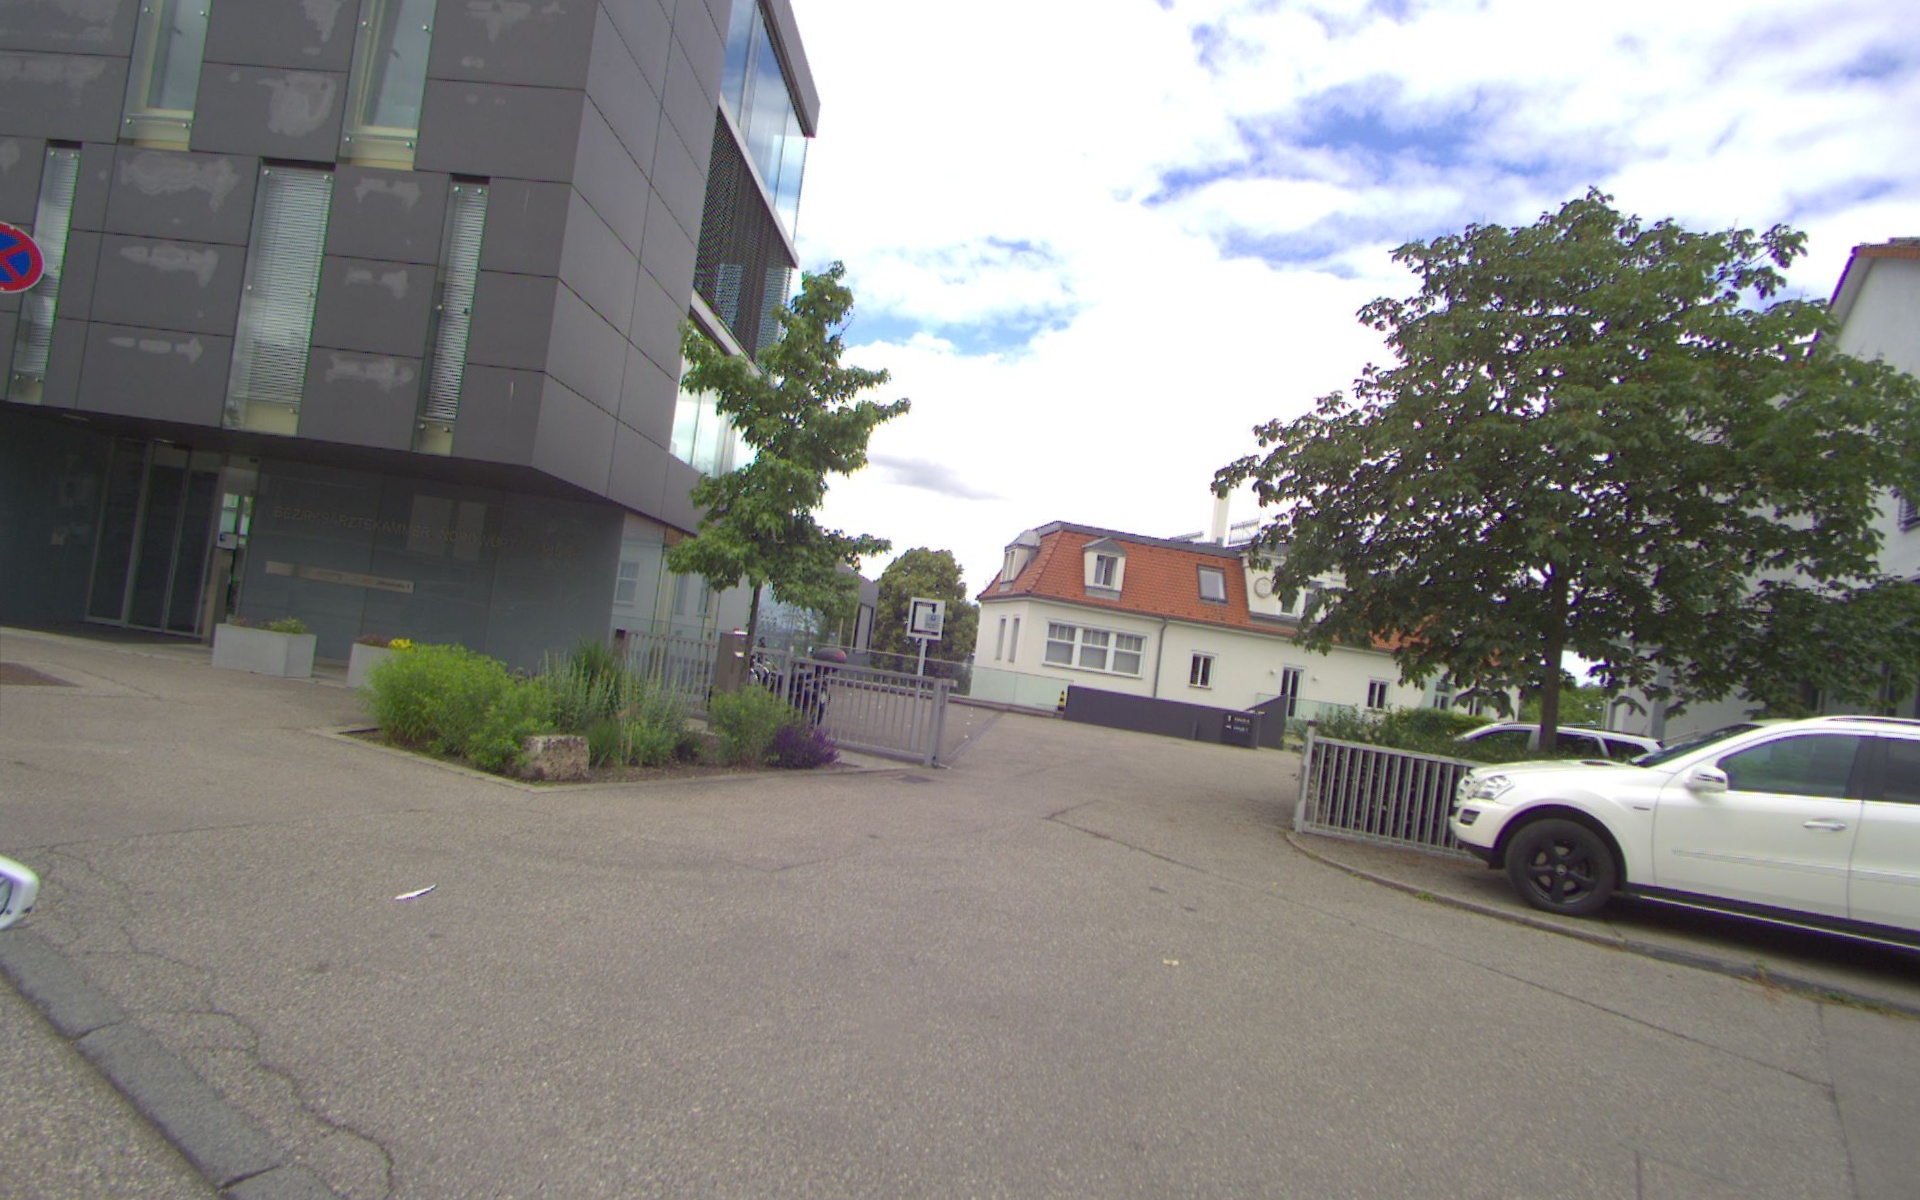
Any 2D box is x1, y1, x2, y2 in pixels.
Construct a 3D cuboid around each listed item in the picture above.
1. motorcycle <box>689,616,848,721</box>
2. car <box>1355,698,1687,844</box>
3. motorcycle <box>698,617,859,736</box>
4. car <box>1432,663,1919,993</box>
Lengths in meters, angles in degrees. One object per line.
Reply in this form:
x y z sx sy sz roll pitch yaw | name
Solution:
-3.221 1.143 16.914 2.416 1.409 0.671 7 -2 14 | motorcycle
8.392 2.511 15.435 4.143 1.500 1.621 5 -3 26 | car
-2.676 1.116 14.891 2.084 1.409 0.671 8 -1 14 | motorcycle
6.294 1.696 7.561 4.645 1.777 1.856 6 -2 33 | car
